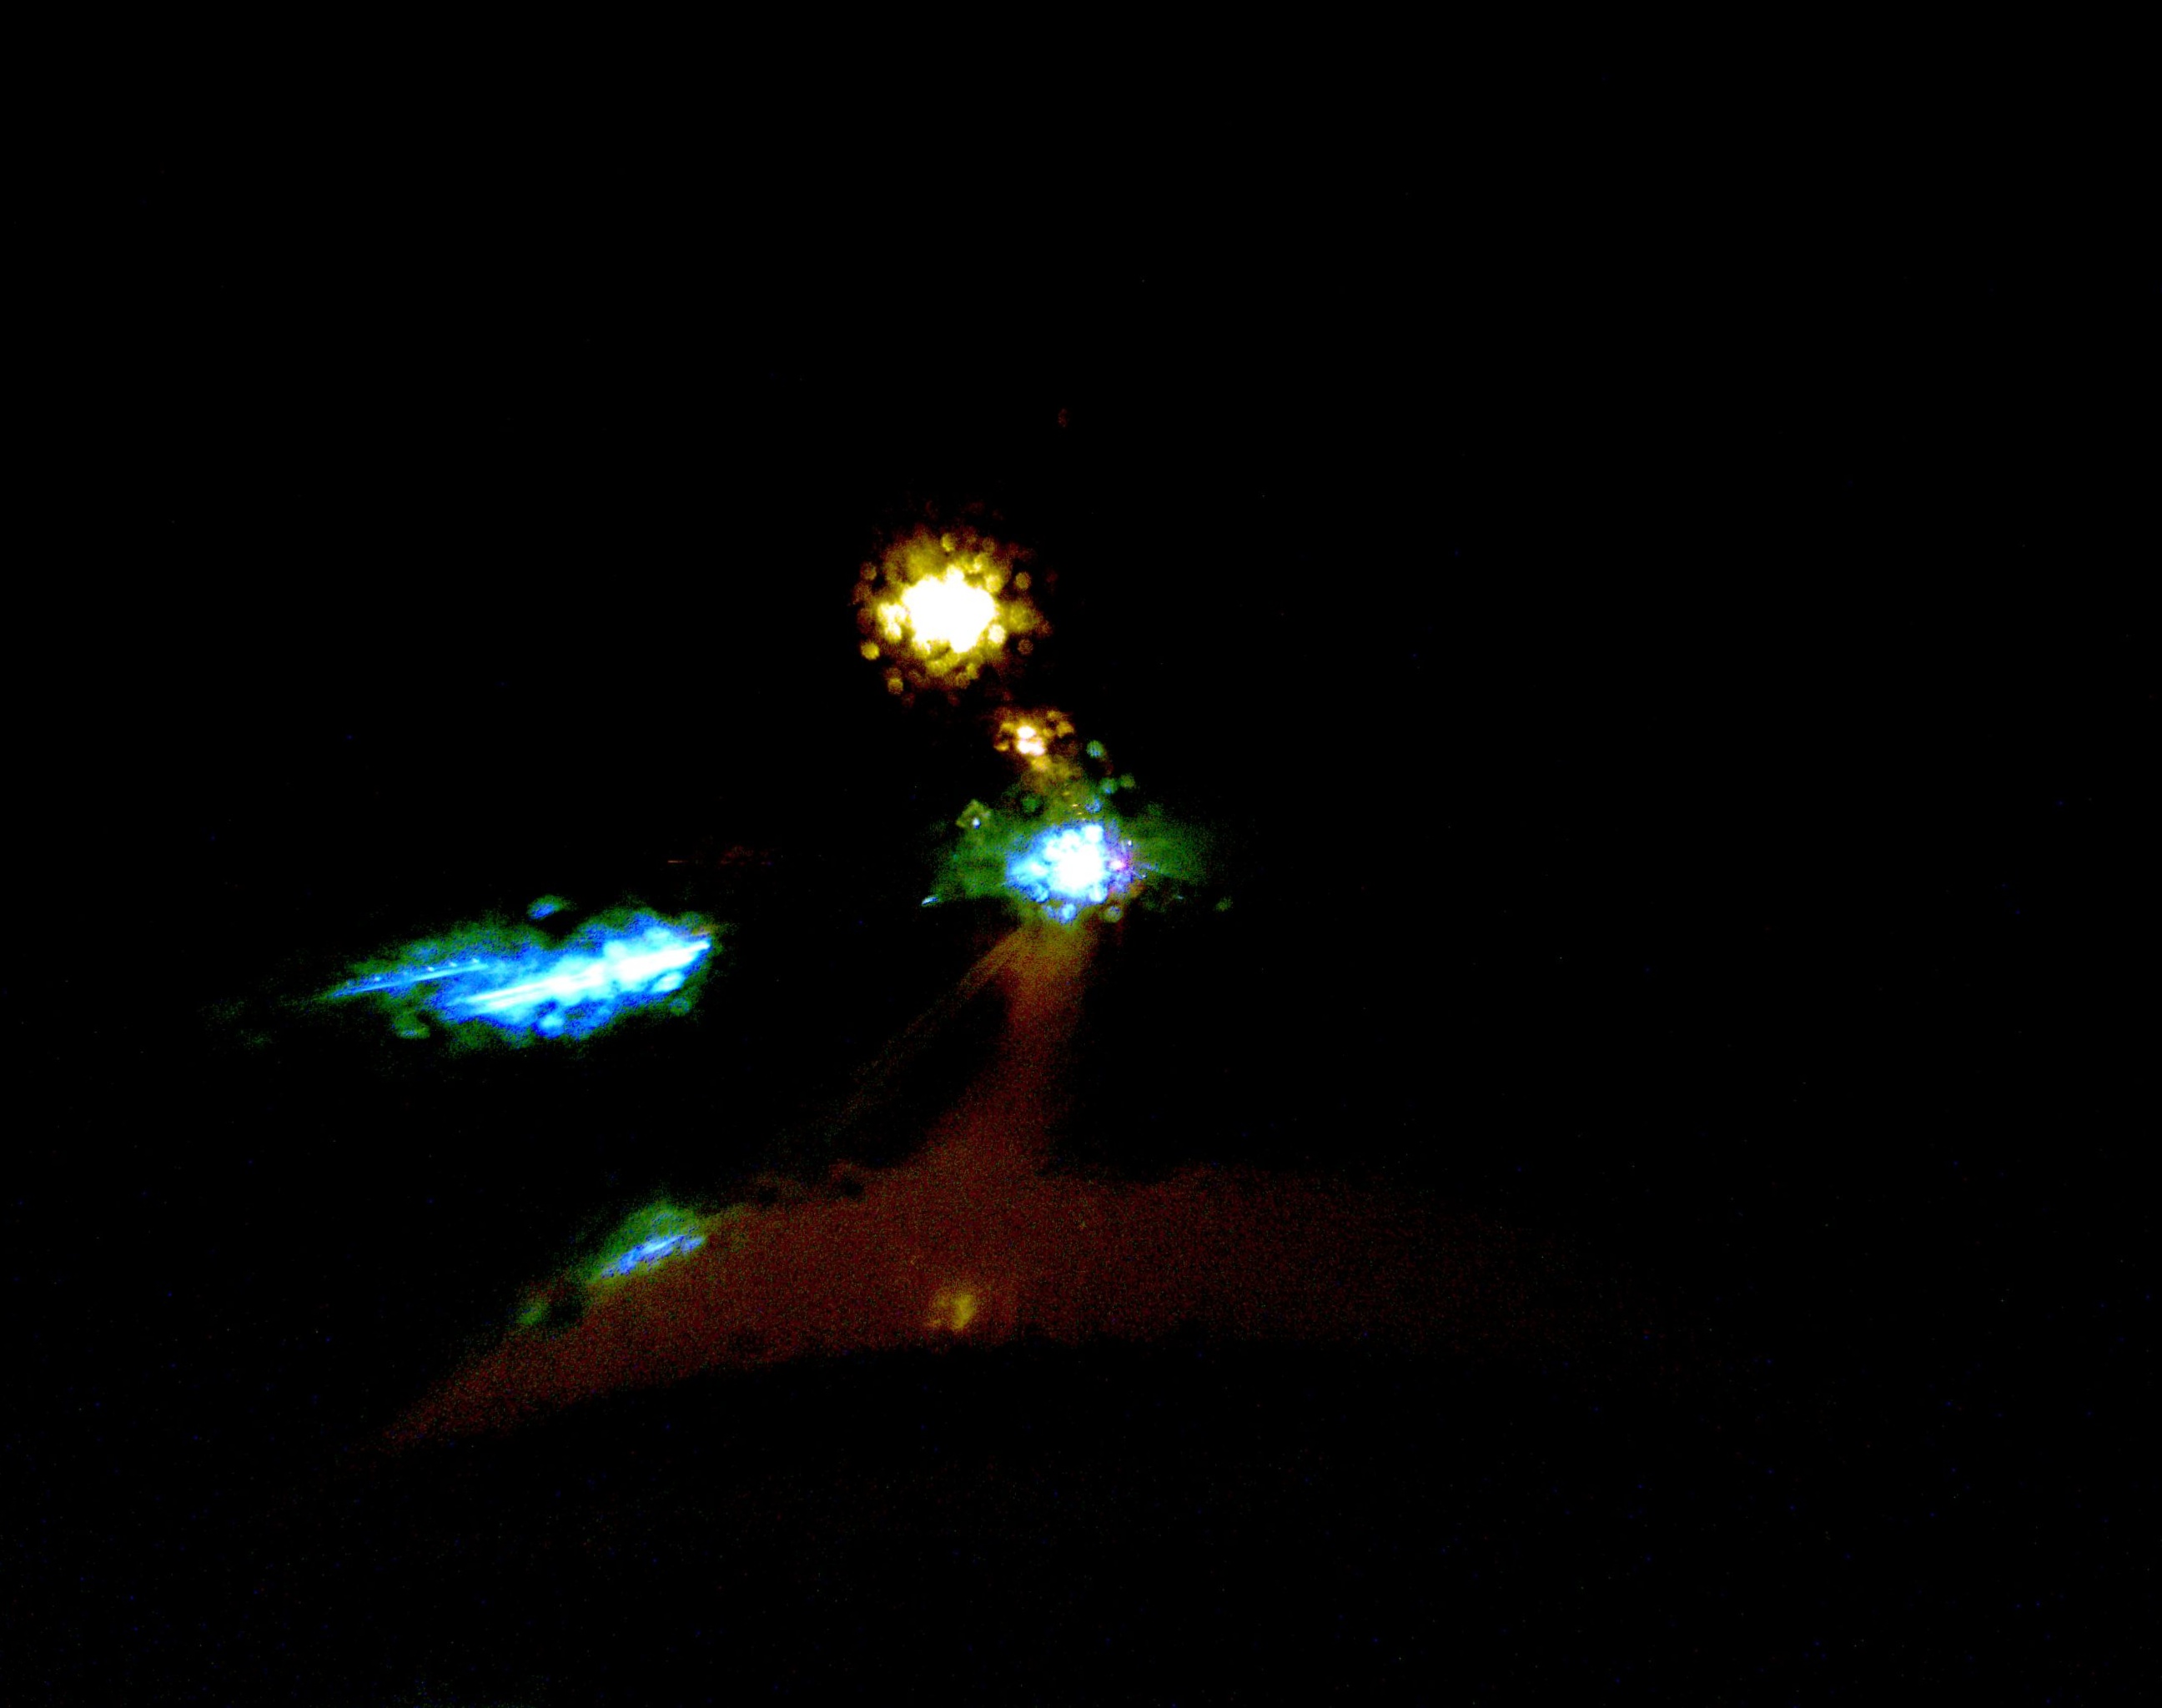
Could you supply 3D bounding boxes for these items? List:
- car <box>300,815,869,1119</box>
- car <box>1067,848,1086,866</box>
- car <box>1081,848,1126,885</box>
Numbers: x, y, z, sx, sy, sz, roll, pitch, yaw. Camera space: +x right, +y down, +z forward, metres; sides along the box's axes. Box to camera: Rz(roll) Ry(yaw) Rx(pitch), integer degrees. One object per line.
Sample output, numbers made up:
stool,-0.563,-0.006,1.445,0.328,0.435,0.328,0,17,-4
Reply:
car,-3.382,0.638,6.759,1.986,1.709,4.282,0,0,2
car,-0.510,0.306,95.702,1.986,2.013,4.001,-1,0,2
car,1.104,0.575,39.919,2.082,1.662,4.001,-1,0,2
